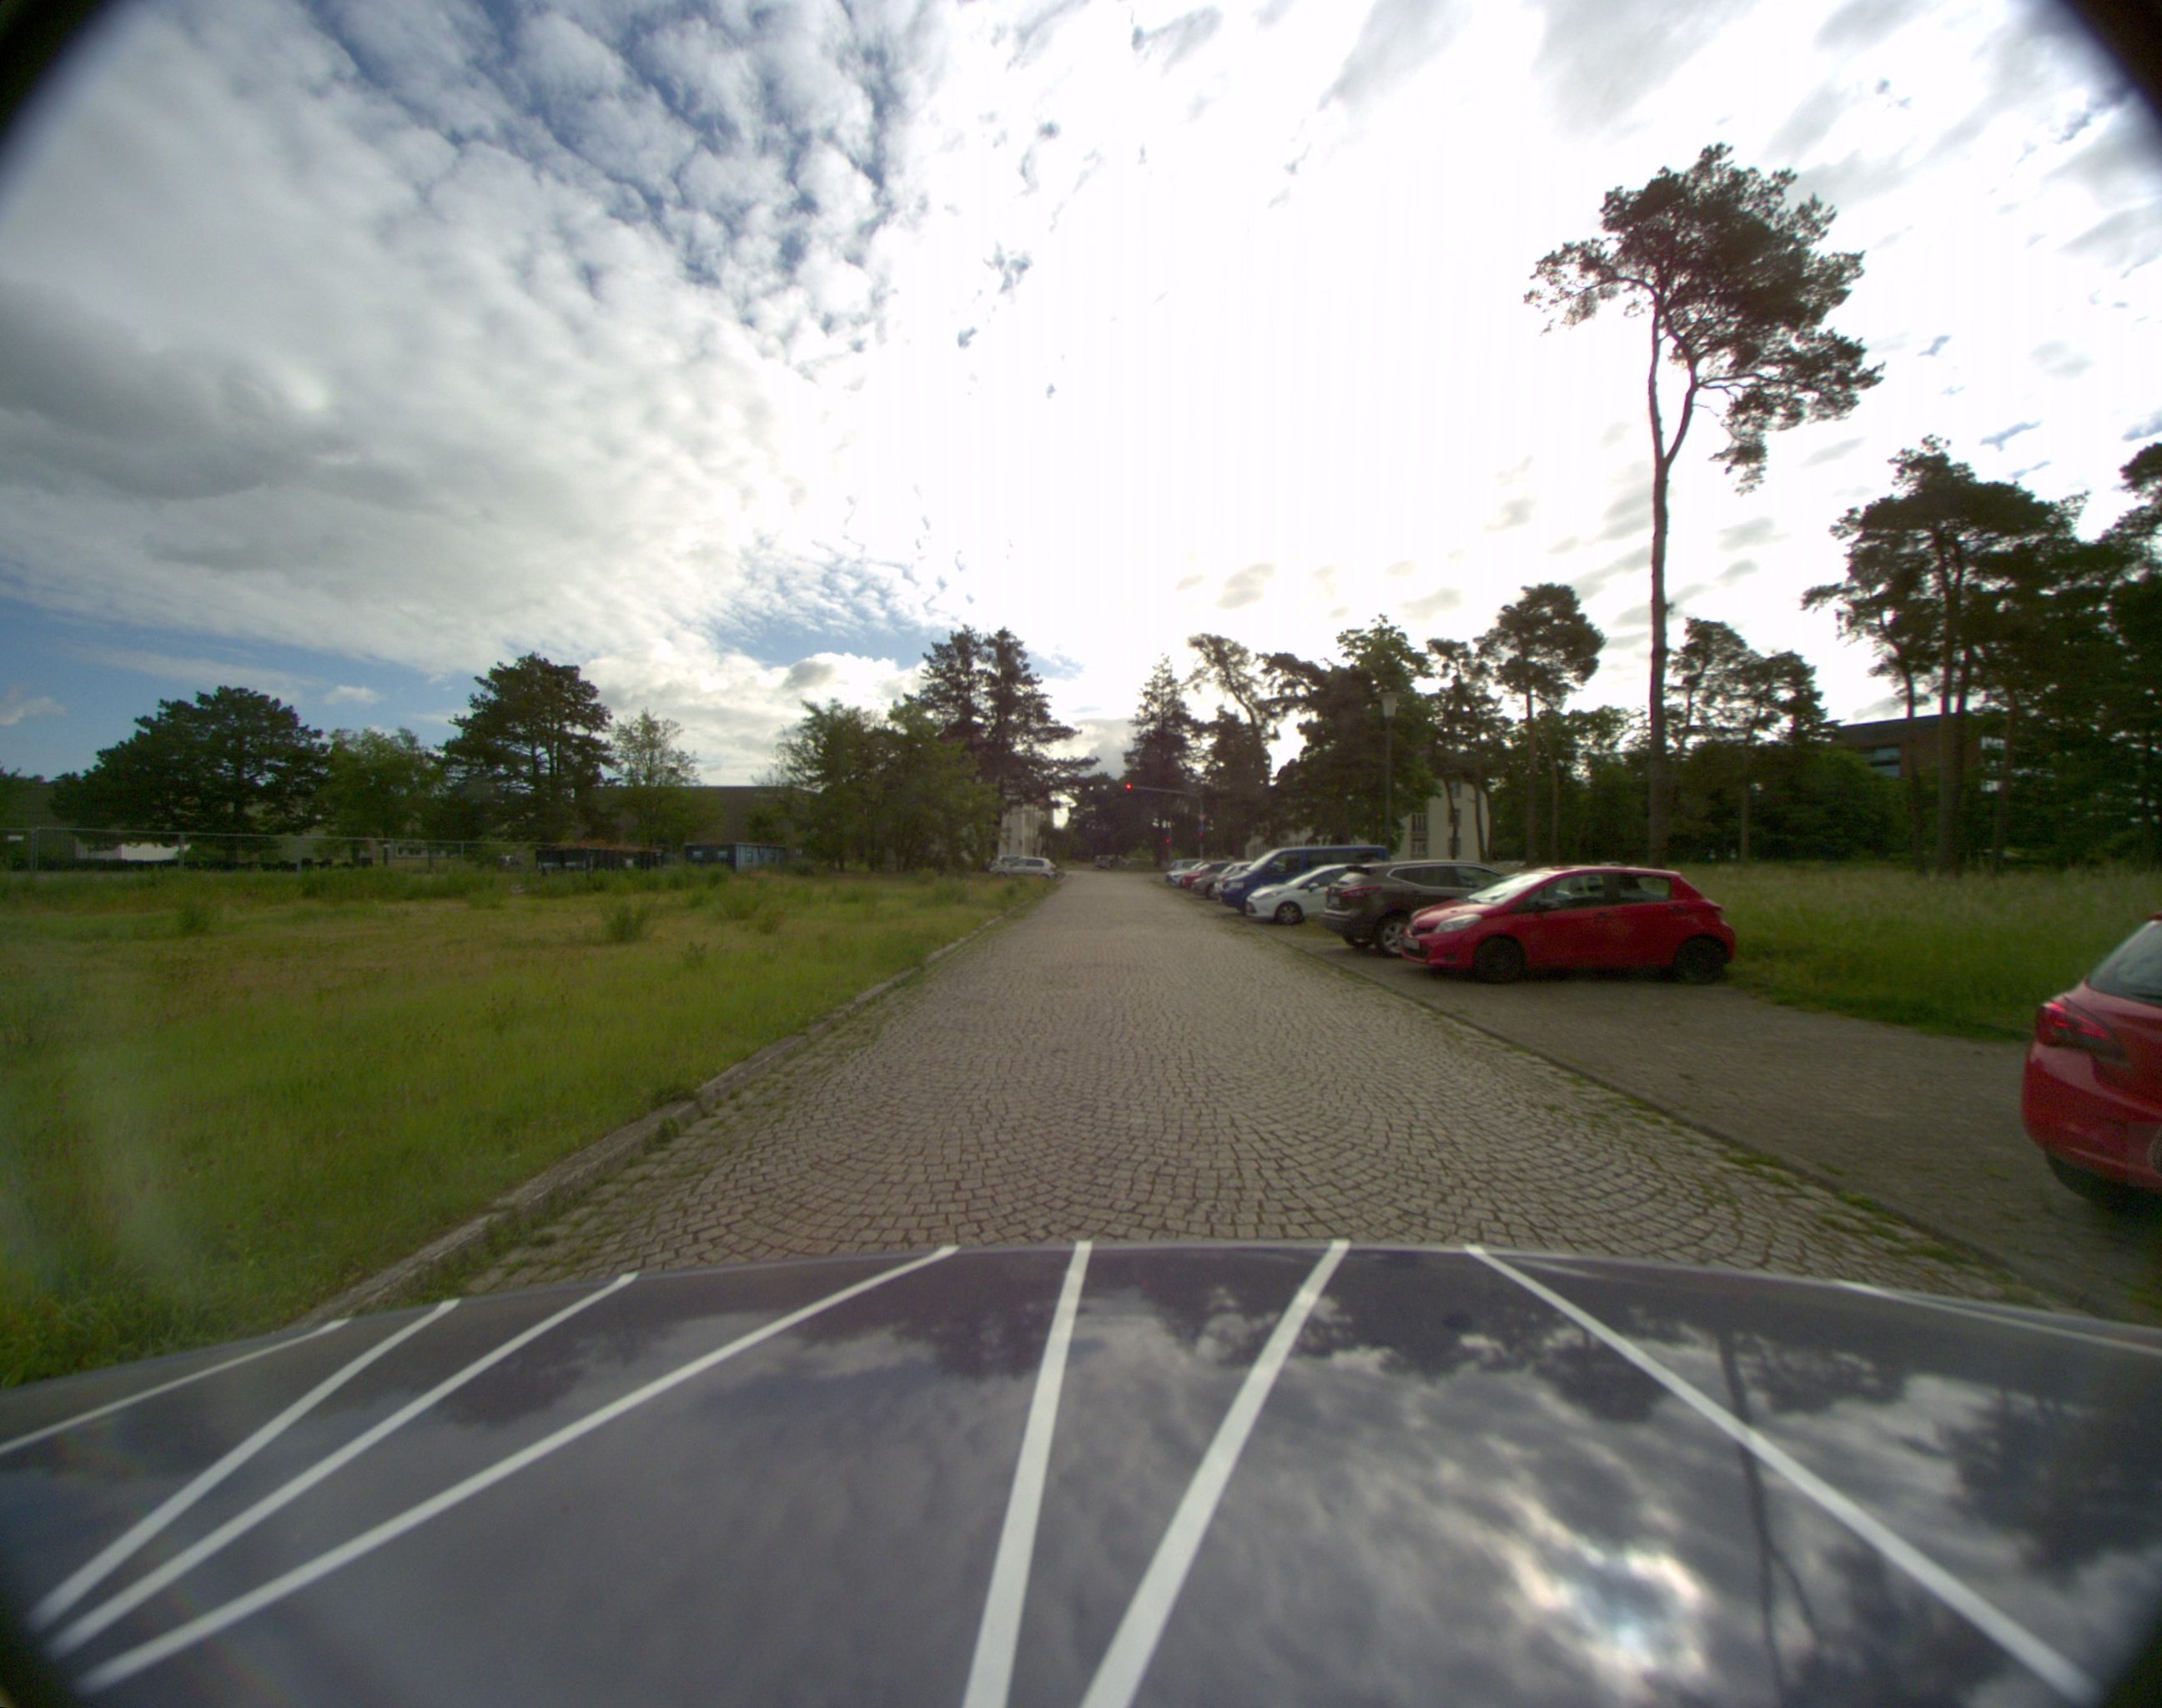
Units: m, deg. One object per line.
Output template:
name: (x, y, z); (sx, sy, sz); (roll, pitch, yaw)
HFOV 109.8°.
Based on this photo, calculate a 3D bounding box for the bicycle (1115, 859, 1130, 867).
bicycle: (5.266, 1.154, 96.311); (1.950, 1.058, 0.563); (0, 0, 0)

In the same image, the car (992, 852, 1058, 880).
car: (-3.674, 0.785, 50.466); (4.251, 1.587, 1.885); (3, 0, -2)

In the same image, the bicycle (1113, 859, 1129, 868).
bicycle: (5.004, 1.173, 94.585); (1.898, 1.058, 0.616); (0, 0, 0)

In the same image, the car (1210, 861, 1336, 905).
car: (6.793, 1.015, 27.231); (4.077, 1.488, 1.846); (0, 0, 2)

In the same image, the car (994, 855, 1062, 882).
car: (-3.312, 0.868, 47.739); (4.084, 1.444, 1.885); (3, 0, -1)

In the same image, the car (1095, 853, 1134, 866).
car: (4.973, 0.798, 113.022); (5.366, 1.987, 2.289); (0, 0, -7)

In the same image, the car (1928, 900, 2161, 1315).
car: (6.101, 0.992, 2.691); (4.065, 1.516, 1.905); (0, 0, 0)

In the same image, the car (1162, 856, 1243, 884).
car: (6.853, 0.898, 43.073); (4.261, 1.539, 1.935); (0, 0, -2)

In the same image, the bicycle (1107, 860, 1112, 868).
bicycle: (3.431, 1.168, 91.200); (0.459, 0.903, 1.663); (0, 0, 5)

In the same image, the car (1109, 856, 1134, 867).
car: (5.857, 1.057, 109.365); (3.439, 1.440, 1.913); (0, 0, 0)

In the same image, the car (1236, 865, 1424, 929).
car: (6.236, 1.049, 19.360); (4.177, 1.501, 1.781); (0, 0, -1)

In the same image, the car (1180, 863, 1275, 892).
car: (6.822, 1.098, 35.658); (4.175, 1.259, 1.831); (0, 0, 3)

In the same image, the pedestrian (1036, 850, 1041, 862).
pedestrian: (-6.159, 0.258, 110.283); (0.568, 1.691, 0.532); (0, 0, 5)

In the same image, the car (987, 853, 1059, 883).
car: (-3.388, 0.836, 45.030); (4.084, 1.506, 1.804); (3, 0, -1)

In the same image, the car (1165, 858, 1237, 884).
car: (7.184, 1.000, 45.773); (3.997, 1.534, 1.905); (0, 0, 0)

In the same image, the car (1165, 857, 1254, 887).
car: (6.768, 0.951, 40.330); (4.385, 1.499, 1.935); (0, 0, -1)

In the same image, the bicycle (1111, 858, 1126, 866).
bicycle: (4.956, 1.085, 101.185); (1.950, 1.058, 0.563); (0, 0, 0)

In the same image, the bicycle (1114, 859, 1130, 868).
bicycle: (5.166, 1.161, 95.665); (1.950, 1.058, 0.563); (0, 0, 0)

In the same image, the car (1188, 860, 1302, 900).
car: (6.413, 1.004, 30.082); (4.175, 1.483, 1.865); (0, 0, 3)

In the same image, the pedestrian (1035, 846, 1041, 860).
pedestrian: (-6.164, -0.153, 108.927); (0.589, 1.926, 0.792); (0, 1, -32)

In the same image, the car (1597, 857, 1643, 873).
car: (61.313, 1.255, 86.499); (3.995, 1.796, 1.723); (0, 0, 4)

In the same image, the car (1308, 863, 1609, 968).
car: (6.307, 0.993, 13.062); (4.177, 1.613, 1.986); (0, 0, -1)

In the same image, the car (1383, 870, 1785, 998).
car: (6.576, 1.011, 10.314); (4.176, 1.501, 1.907); (0, 0, 0)

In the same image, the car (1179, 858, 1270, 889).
car: (7.125, 0.960, 38.023); (4.176, 1.468, 1.865); (0, 0, 1)

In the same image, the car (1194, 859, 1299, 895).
car: (7.122, 0.988, 32.993); (4.176, 1.473, 1.846); (0, 0, 2)

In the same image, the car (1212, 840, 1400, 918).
car: (6.356, 0.698, 21.944); (4.794, 2.109, 2.115); (0, 0, 1)

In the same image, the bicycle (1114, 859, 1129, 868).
bicycle: (5.073, 1.143, 95.138); (1.950, 1.104, 0.563); (0, 0, 0)
